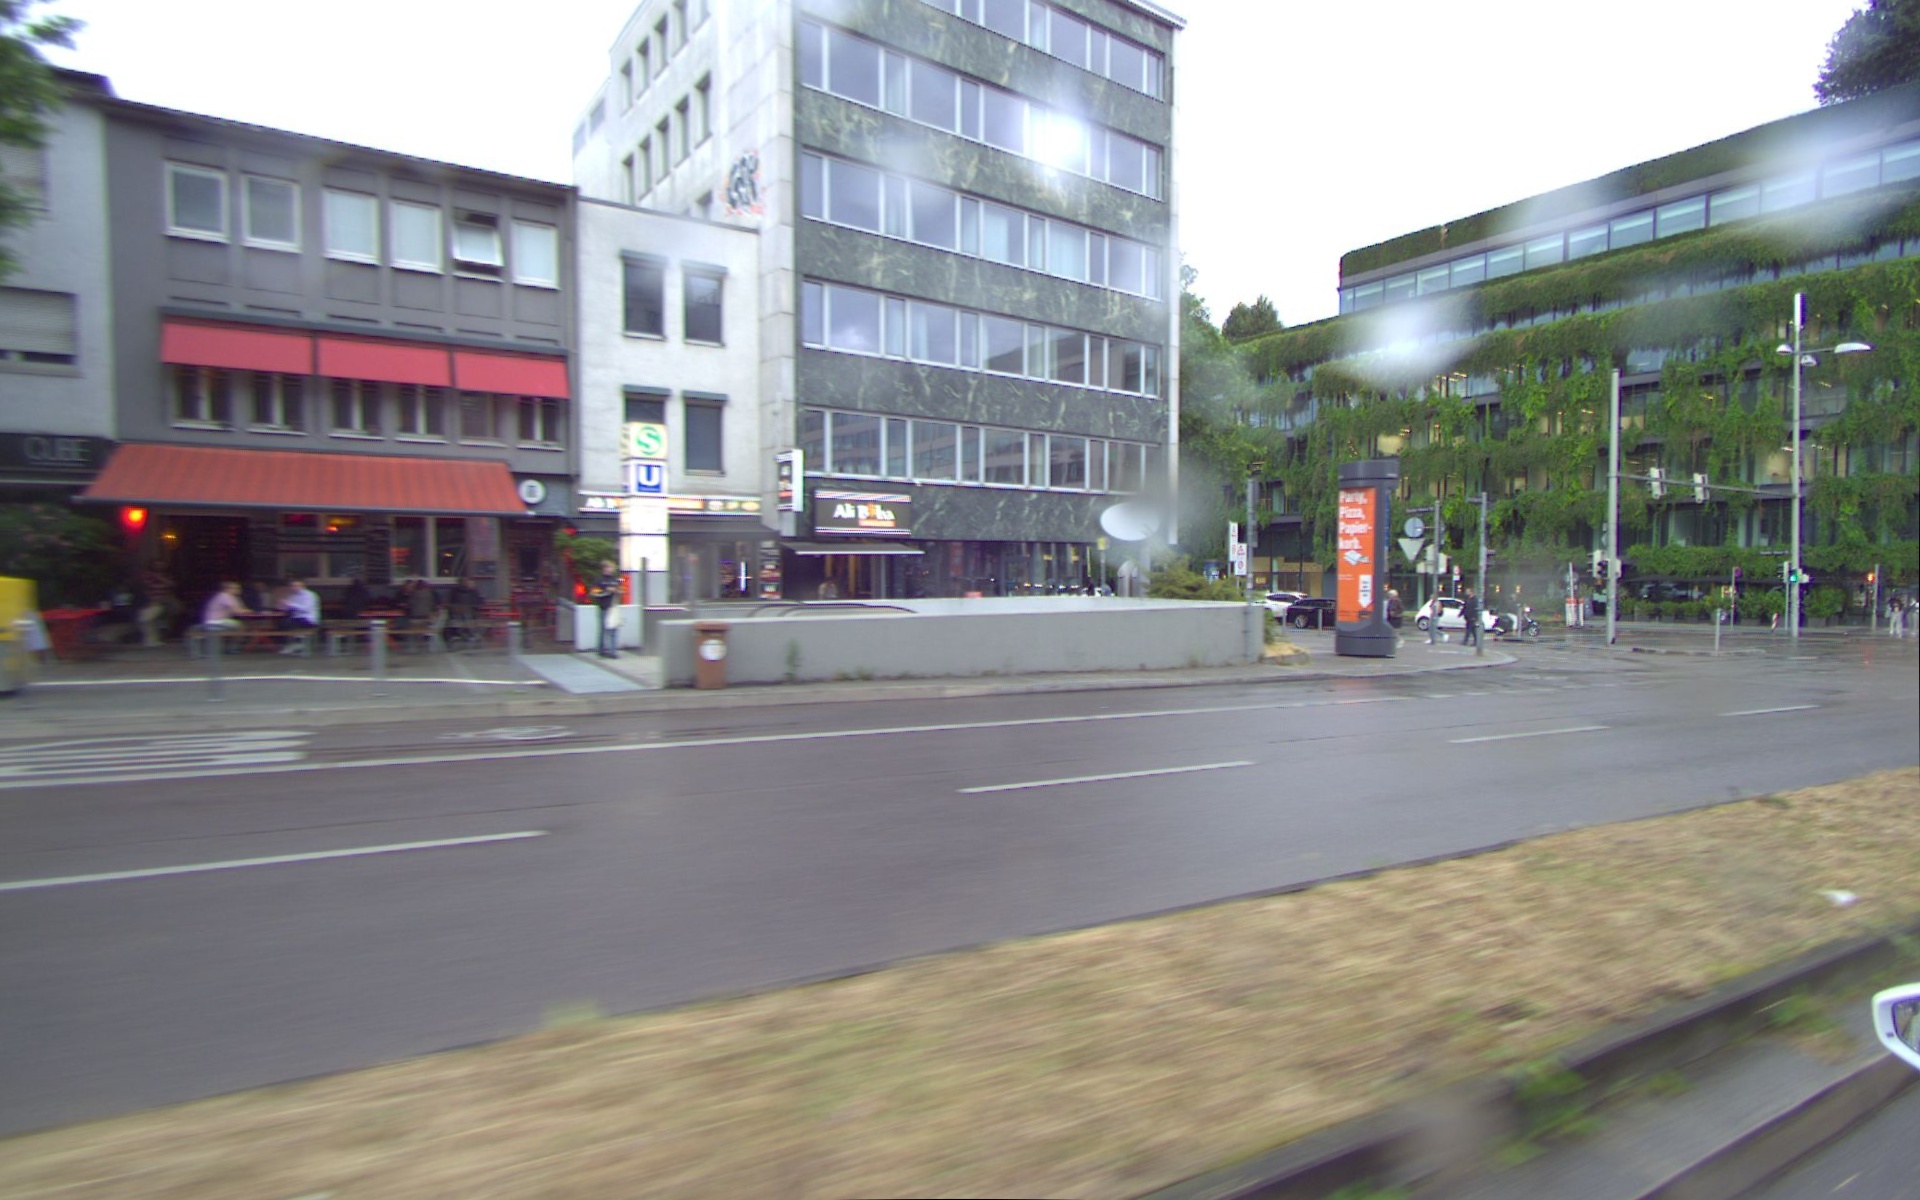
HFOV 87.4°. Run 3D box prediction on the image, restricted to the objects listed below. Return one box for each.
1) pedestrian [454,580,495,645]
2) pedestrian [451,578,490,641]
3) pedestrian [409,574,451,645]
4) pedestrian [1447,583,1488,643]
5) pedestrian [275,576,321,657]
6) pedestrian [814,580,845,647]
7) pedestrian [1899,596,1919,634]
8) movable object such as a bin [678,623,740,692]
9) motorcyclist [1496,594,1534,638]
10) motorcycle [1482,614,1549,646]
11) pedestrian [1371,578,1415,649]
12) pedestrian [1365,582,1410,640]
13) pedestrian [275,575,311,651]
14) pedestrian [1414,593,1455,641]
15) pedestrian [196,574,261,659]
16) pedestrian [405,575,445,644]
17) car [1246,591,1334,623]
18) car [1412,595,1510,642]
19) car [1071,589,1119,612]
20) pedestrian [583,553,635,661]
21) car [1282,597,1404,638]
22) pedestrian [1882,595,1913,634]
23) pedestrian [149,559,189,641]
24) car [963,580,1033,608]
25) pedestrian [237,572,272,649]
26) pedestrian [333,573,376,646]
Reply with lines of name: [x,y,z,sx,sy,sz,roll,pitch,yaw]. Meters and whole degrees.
pedestrian: [-10.482,0.256,21.673,0.685,1.362,0.628,0,1,-37]
pedestrian: [-10.888,0.198,22.348,0.685,1.374,0.628,0,1,-37]
pedestrian: [-11.137,0.196,21.105,0.685,1.470,0.628,0,1,-37]
pedestrian: [16.447,0.405,32.564,0.887,1.910,0.780,0,1,-30]
pedestrian: [-12.241,0.294,18.578,0.700,1.470,0.685,0,1,-34]
pedestrian: [-3.818,0.377,29.289,0.586,1.910,0.750,0,1,-37]
pedestrian: [44.857,0.701,47.332,0.731,1.781,0.972,1,1,36]
movable object such as a bin: [-3.463,0.780,13.854,0.677,0.909,0.527,0,-1,-40]
motorcyclist: [22.445,0.648,40.622,1.173,1.725,0.843,1,1,44]
motorcycle: [22.450,1.192,40.619,2.204,1.227,0.843,1,1,44]
pedestrian: [12.027,0.391,27.900,0.797,1.910,0.861,-4,-3,44]
pedestrian: [14.175,0.358,33.321,0.868,1.879,1.015,0,1,-34]
pedestrian: [-13.231,0.244,19.945,0.577,1.470,0.685,0,1,-33]
pedestrian: [15.977,0.568,33.825,0.912,1.606,0.827,0,1,-30]
pedestrian: [-13.078,0.283,17.983,0.905,1.470,0.685,0,1,-34]
pedestrian: [-11.634,0.189,21.850,0.685,1.470,0.628,0,1,-37]
car: [16.820,0.345,51.241,1.858,1.543,3.855,0,1,-42]
car: [22.321,0.789,44.818,1.985,1.948,3.417,0,1,-42]
car: [11.890,0.029,88.854,1.979,2.040,4.073,1,0,-34]
pedestrian: [-6.430,0.120,18.385,0.750,1.910,0.685,0,1,-34]
car: [17.133,0.730,45.083,1.957,1.674,4.755,0,1,-43]
pedestrian: [44.476,0.680,47.679,0.923,1.781,1.167,1,1,37]
pedestrian: [-15.592,0.003,19.803,0.600,1.592,0.591,0,0,-40]
car: [2.306,-0.400,61.848,1.985,1.674,4.186,0,1,-42]
pedestrian: [-13.789,0.202,19.640,0.541,1.470,0.685,0,1,-34]
pedestrian: [-12.385,0.181,20.546,0.685,1.470,0.721,0,1,-37]
